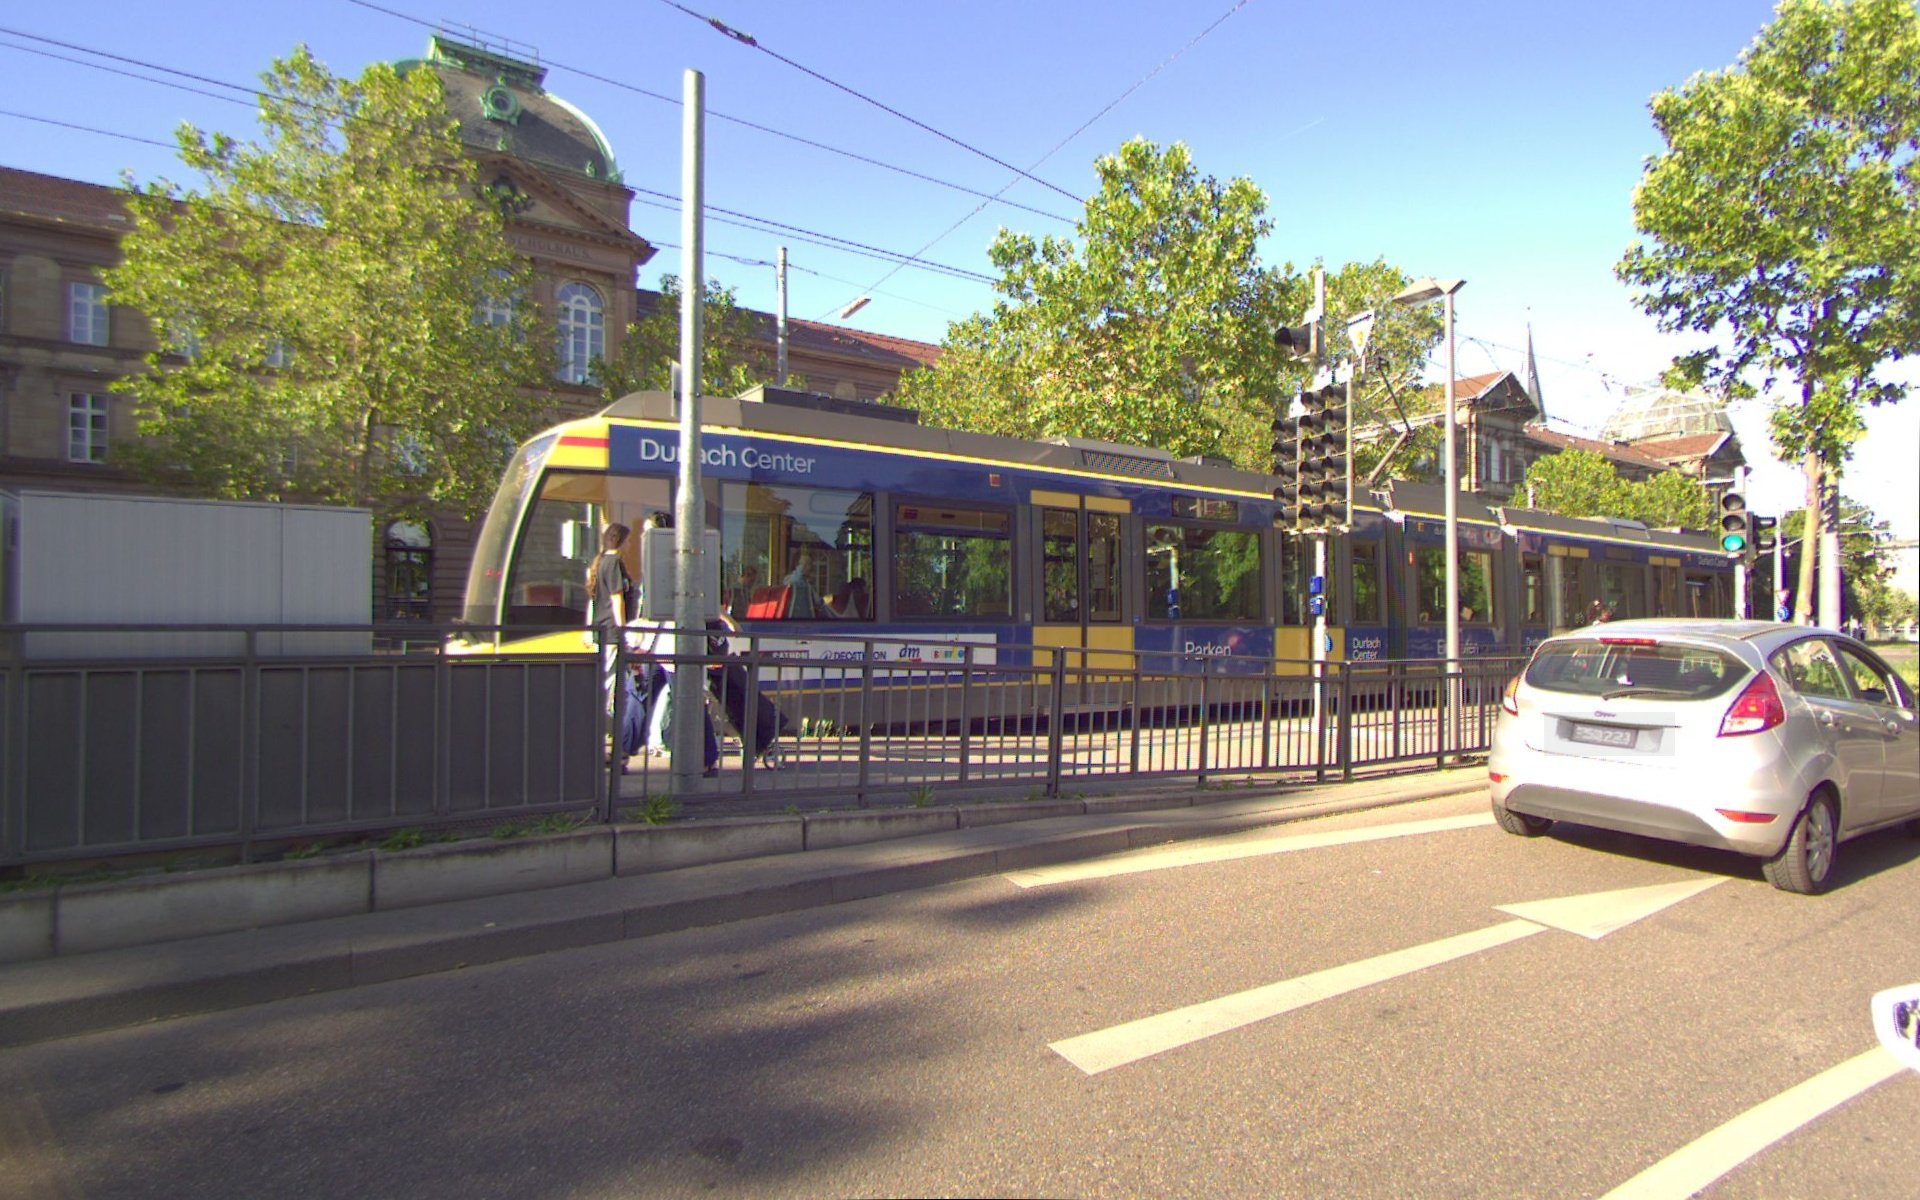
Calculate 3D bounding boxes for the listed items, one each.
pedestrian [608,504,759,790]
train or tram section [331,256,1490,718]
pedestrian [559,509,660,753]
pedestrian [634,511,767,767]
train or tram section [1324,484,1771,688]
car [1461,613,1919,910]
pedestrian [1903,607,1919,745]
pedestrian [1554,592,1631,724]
[{"bbox_3d":[-1.714,0.291,6.219,0.635,1.640,0.635,4,-3,-37],"label":"pedestrian"},{"bbox_3d":[1.292,-0.542,12.926,15.736,3.303,2.895,3,0,-35],"label":"train or tram section"},{"bbox_3d":[-2.629,0.230,7.516,0.541,1.724,0.604,1,-2,-37],"label":"pedestrian"},{"bbox_3d":[-1.873,0.276,7.251,0.740,1.724,0.628,1,-2,-38],"label":"pedestrian"},{"bbox_3d":[12.944,-0.019,21.181,12.982,3.303,2.895,3,0,-35],"label":"train or tram section"},{"bbox_3d":[5.113,0.846,6.592,3.592,1.428,1.651,2,0,-33],"label":"car"},{"bbox_3d":[11.955,0.913,12.031,0.930,1.651,0.625,1,0,43],"label":"pedestrian"},{"bbox_3d":[7.861,0.709,12.488,0.641,1.577,0.626,1,-1,-38],"label":"pedestrian"}]
